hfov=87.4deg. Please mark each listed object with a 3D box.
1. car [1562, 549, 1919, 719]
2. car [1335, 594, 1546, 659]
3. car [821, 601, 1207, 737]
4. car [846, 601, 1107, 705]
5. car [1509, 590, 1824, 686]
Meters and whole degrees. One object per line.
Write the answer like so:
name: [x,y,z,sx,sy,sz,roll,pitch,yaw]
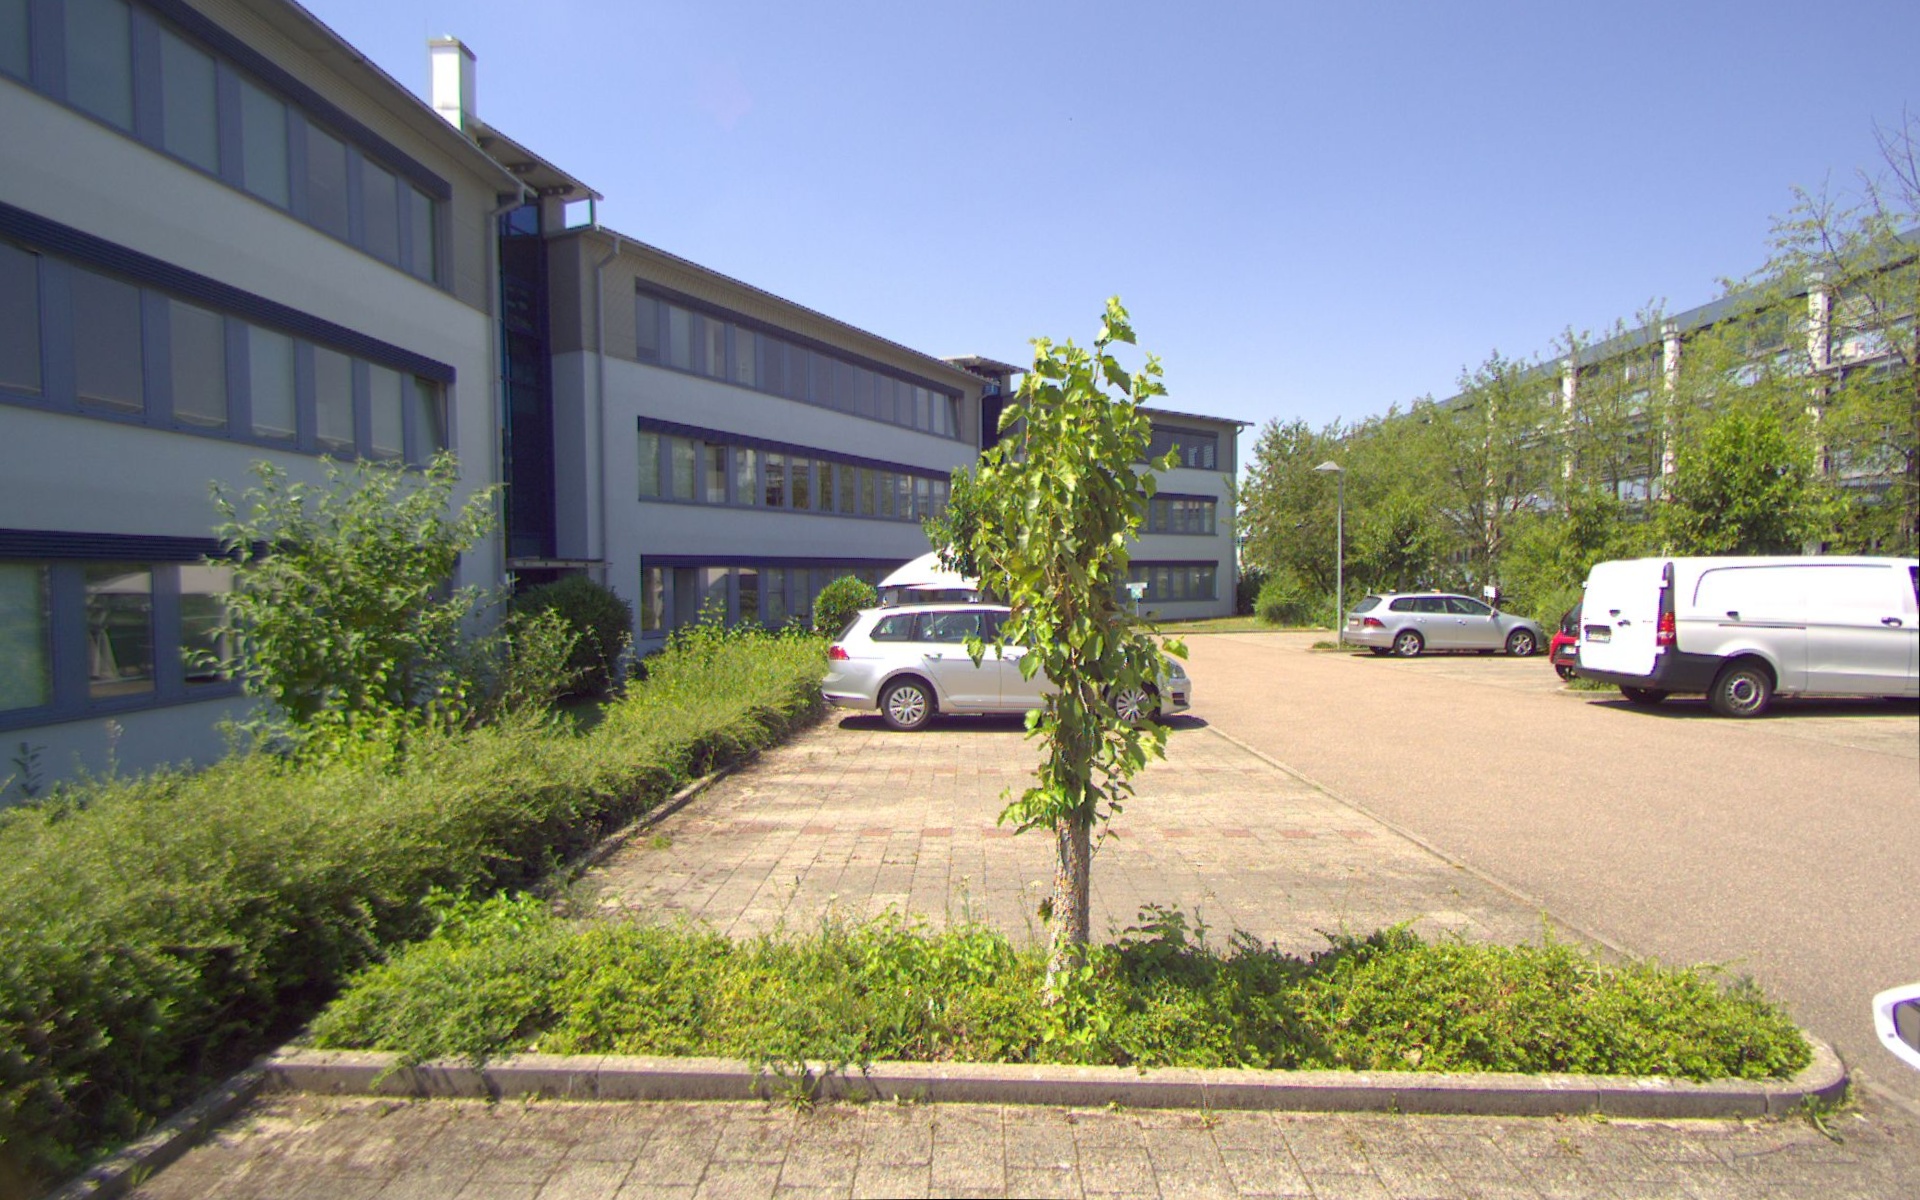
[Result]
car: [10.456,0.377,12.540,4.708,1.916,1.888,-1,0,1]
car: [11.220,0.593,23.666,4.087,1.425,1.874,-1,0,2]
car: [0.618,0.785,12.383,4.395,1.492,1.863,-1,0,-1]
car: [0.291,0.809,16.219,3.920,1.481,2.001,-2,0,3]
car: [11.522,0.601,16.606,3.920,1.460,1.788,-1,0,2]
